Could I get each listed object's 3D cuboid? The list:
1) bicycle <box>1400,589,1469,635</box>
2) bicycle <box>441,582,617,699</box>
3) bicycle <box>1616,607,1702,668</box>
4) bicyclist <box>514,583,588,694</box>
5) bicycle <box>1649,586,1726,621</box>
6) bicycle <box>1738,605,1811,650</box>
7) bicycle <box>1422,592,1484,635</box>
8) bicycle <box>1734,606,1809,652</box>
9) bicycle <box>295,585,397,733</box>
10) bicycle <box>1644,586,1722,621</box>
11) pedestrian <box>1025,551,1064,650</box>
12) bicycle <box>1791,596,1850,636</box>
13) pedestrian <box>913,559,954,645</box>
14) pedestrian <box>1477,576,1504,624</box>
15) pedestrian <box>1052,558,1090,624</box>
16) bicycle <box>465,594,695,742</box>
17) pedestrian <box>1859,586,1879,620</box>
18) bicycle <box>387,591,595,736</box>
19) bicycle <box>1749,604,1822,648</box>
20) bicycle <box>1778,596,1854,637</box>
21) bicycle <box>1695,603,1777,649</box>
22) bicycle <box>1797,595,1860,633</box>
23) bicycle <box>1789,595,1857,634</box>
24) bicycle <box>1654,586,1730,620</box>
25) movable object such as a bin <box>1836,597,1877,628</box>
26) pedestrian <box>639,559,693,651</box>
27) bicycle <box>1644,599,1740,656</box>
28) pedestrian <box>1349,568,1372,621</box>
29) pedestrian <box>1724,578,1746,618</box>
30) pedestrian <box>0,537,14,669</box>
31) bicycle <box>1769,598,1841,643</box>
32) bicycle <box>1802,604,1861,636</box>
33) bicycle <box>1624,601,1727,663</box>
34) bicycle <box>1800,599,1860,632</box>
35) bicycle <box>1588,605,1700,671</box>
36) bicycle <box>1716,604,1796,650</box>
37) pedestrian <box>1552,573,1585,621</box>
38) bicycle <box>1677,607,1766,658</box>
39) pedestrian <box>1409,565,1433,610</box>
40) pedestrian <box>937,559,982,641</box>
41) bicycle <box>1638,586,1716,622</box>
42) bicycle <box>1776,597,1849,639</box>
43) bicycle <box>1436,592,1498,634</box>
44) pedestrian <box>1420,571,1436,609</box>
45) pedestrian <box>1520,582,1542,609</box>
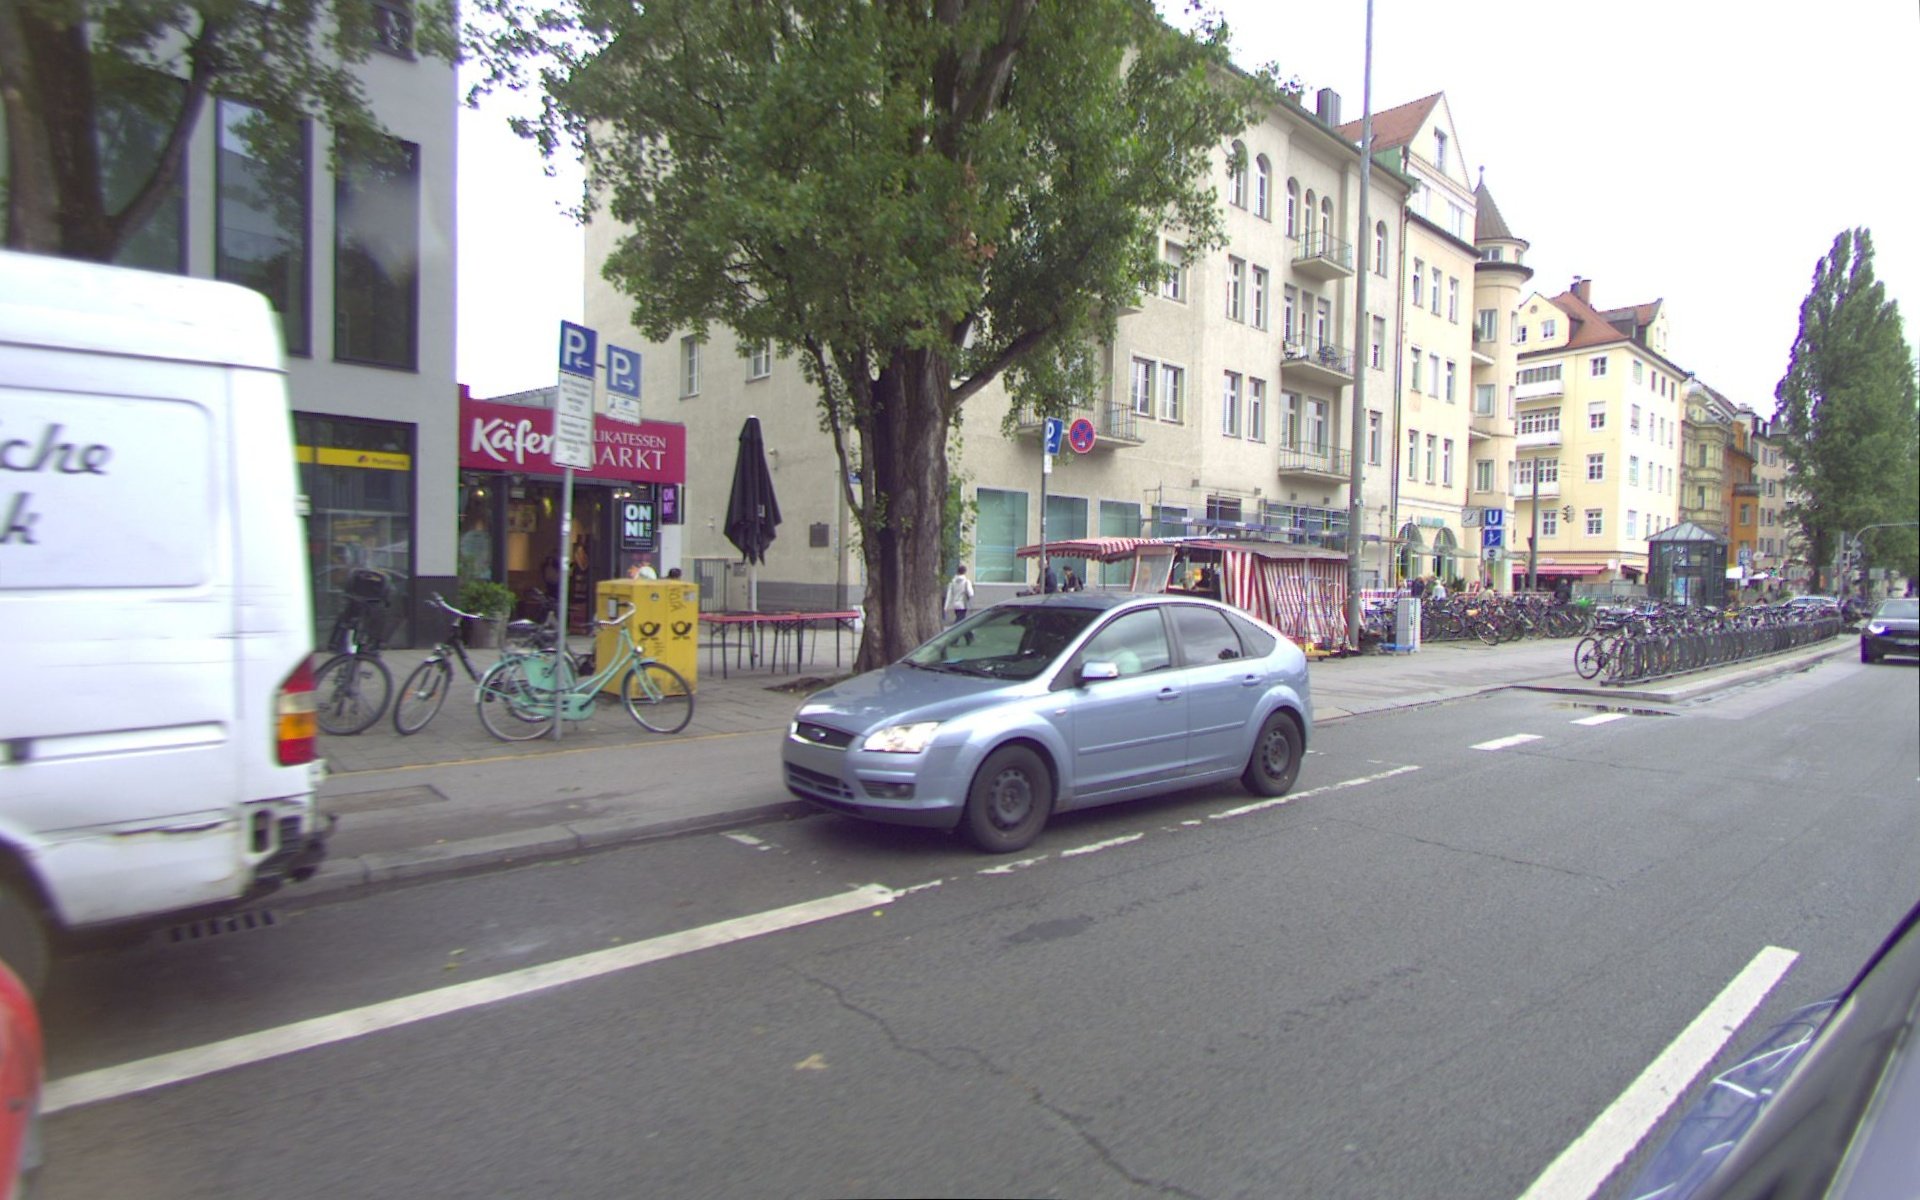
[{"bbox_3d":[12.468,0.298,26.636,0.402,1.116,1.636,0,3,-33],"label":"bicycle"},{"bbox_3d":[-4.818,0.415,11.389,1.743,1.209,0.527,0,2,-42],"label":"bicycle"},{"bbox_3d":[12.881,0.690,18.705,0.360,1.068,1.800,0,-2,2],"label":"bicycle"},{"bbox_3d":[-4.665,0.417,11.551,0.630,1.210,0.539,0,2,-42],"label":"bicyclist"},{"bbox_3d":[28.090,0.116,39.131,0.617,1.242,2.318,0,2,-39],"label":"bicycle"},{"bbox_3d":[20.460,0.699,25.470,0.390,1.073,1.850,0,-2,3],"label":"bicycle"},{"bbox_3d":[13.566,0.359,27.887,1.446,1.091,0.404,4,3,40],"label":"bicycle"},{"bbox_3d":[19.900,0.714,24.849,0.390,1.073,1.850,0,-2,3],"label":"bicycle"},{"bbox_3d":[-5.459,0.471,9.067,0.691,1.174,1.636,1,1,-28],"label":"bicycle"},{"bbox_3d":[27.608,0.127,38.692,0.617,1.242,2.318,0,2,-39],"label":"bicycle"},{"bbox_3d":[1.572,-0.003,18.906,0.598,1.792,0.720,1,2,-1],"label":"pedestrian"},{"bbox_3d":[25.916,0.472,30.514,0.341,1.151,1.527,0,1,-6],"label":"bicycle"},{"bbox_3d":[-0.548,0.036,20.804,0.585,1.722,0.582,0,2,-34],"label":"pedestrian"},{"bbox_3d":[17.804,-0.004,33.948,0.659,1.602,0.528,2,2,43],"label":"pedestrian"},{"bbox_3d":[2.895,-0.238,26.356,0.752,1.671,0.601,0,2,-43],"label":"pedestrian"},{"bbox_3d":[-3.230,0.545,8.660,1.787,1.174,0.480,0,1,-26],"label":"bicycle"},{"bbox_3d":[51.106,0.163,56.876,0.728,1.823,0.701,2,3,39],"label":"pedestrian"},{"bbox_3d":[-4.127,0.519,8.980,1.605,1.174,0.478,0,1,-42],"label":"bicycle"},{"bbox_3d":[21.011,0.668,25.795,0.390,1.073,1.850,0,-2,3],"label":"bicycle"},{"bbox_3d":[25.435,0.482,30.110,0.578,1.151,1.798,0,1,-6],"label":"bicycle"},{"bbox_3d":[18.044,0.606,23.578,0.378,1.024,1.802,0,-2,-4],"label":"bicycle"},{"bbox_3d":[27.540,0.431,32.118,0.469,1.151,1.679,0,1,-3],"label":"bicycle"},{"bbox_3d":[26.922,0.444,31.610,0.468,1.151,1.681,0,1,-12],"label":"bicycle"},{"bbox_3d":[28.623,0.104,39.595,0.617,1.242,2.318,0,2,-39],"label":"bicycle"},{"bbox_3d":[34.664,0.471,39.133,0.735,1.075,1.087,-1,4,-45],"label":"movable object such as a bin"},{"bbox_3d":[-4.907,0.075,16.938,0.745,1.495,0.650,0,1,-4],"label":"pedestrian"},{"bbox_3d":[14.984,0.567,20.773,0.536,1.119,1.802,0,-2,-4],"label":"bicycle"},{"bbox_3d":[12.798,-0.173,32.371,0.495,1.695,0.541,0,0,-4],"label":"pedestrian"},{"bbox_3d":[35.340,-0.099,46.150,0.634,1.799,0.605,1,1,25],"label":"pedestrian"},{"bbox_3d":[-11.715,0.032,11.900,0.695,1.554,0.768,0,2,-29],"label":"pedestrian"},{"bbox_3d":[23.110,0.542,27.716,0.480,1.151,1.795,0,1,2],"label":"bicycle"},{"bbox_3d":[29.598,0.683,34.400,0.390,1.073,1.851,0,-2,0],"label":"bicycle"},{"bbox_3d":[13.481,0.607,19.132,0.536,1.119,1.802,0,-2,-4],"label":"bicycle"},{"bbox_3d":[29.044,0.548,33.818,0.390,1.073,1.851,0,-2,0],"label":"bicycle"},{"bbox_3d":[11.529,0.640,17.136,0.536,1.068,1.802,0,-2,-4],"label":"bicycle"},{"bbox_3d":[19.160,0.661,24.404,0.389,1.073,1.802,0,-2,-4],"label":"bicycle"},{"bbox_3d":[22.181,-0.125,36.910,0.727,1.729,0.704,2,1,7],"label":"pedestrian"},{"bbox_3d":[16.022,0.691,21.348,0.378,1.024,1.802,0,-2,-4],"label":"bicycle"},{"bbox_3d":[18.506,-0.518,40.595,0.634,1.759,0.617,0,3,-43],"label":"pedestrian"},{"bbox_3d":[-0.016,-0.003,20.389,0.622,1.603,0.644,0,2,-34],"label":"pedestrian"},{"bbox_3d":[27.113,0.137,38.313,0.617,1.242,2.318,0,2,-39],"label":"bicycle"},{"bbox_3d":[24.511,0.507,29.119,0.480,1.151,1.797,0,1,-4],"label":"bicycle"},{"bbox_3d":[14.121,0.350,28.196,1.446,1.091,0.404,4,3,40],"label":"bicycle"},{"bbox_3d":[19.618,-0.423,42.457,0.560,1.560,0.586,1,2,24],"label":"pedestrian"},{"bbox_3d":[27.539,-0.221,48.806,0.904,1.260,0.700,-2,3,-43],"label":"pedestrian"}]
